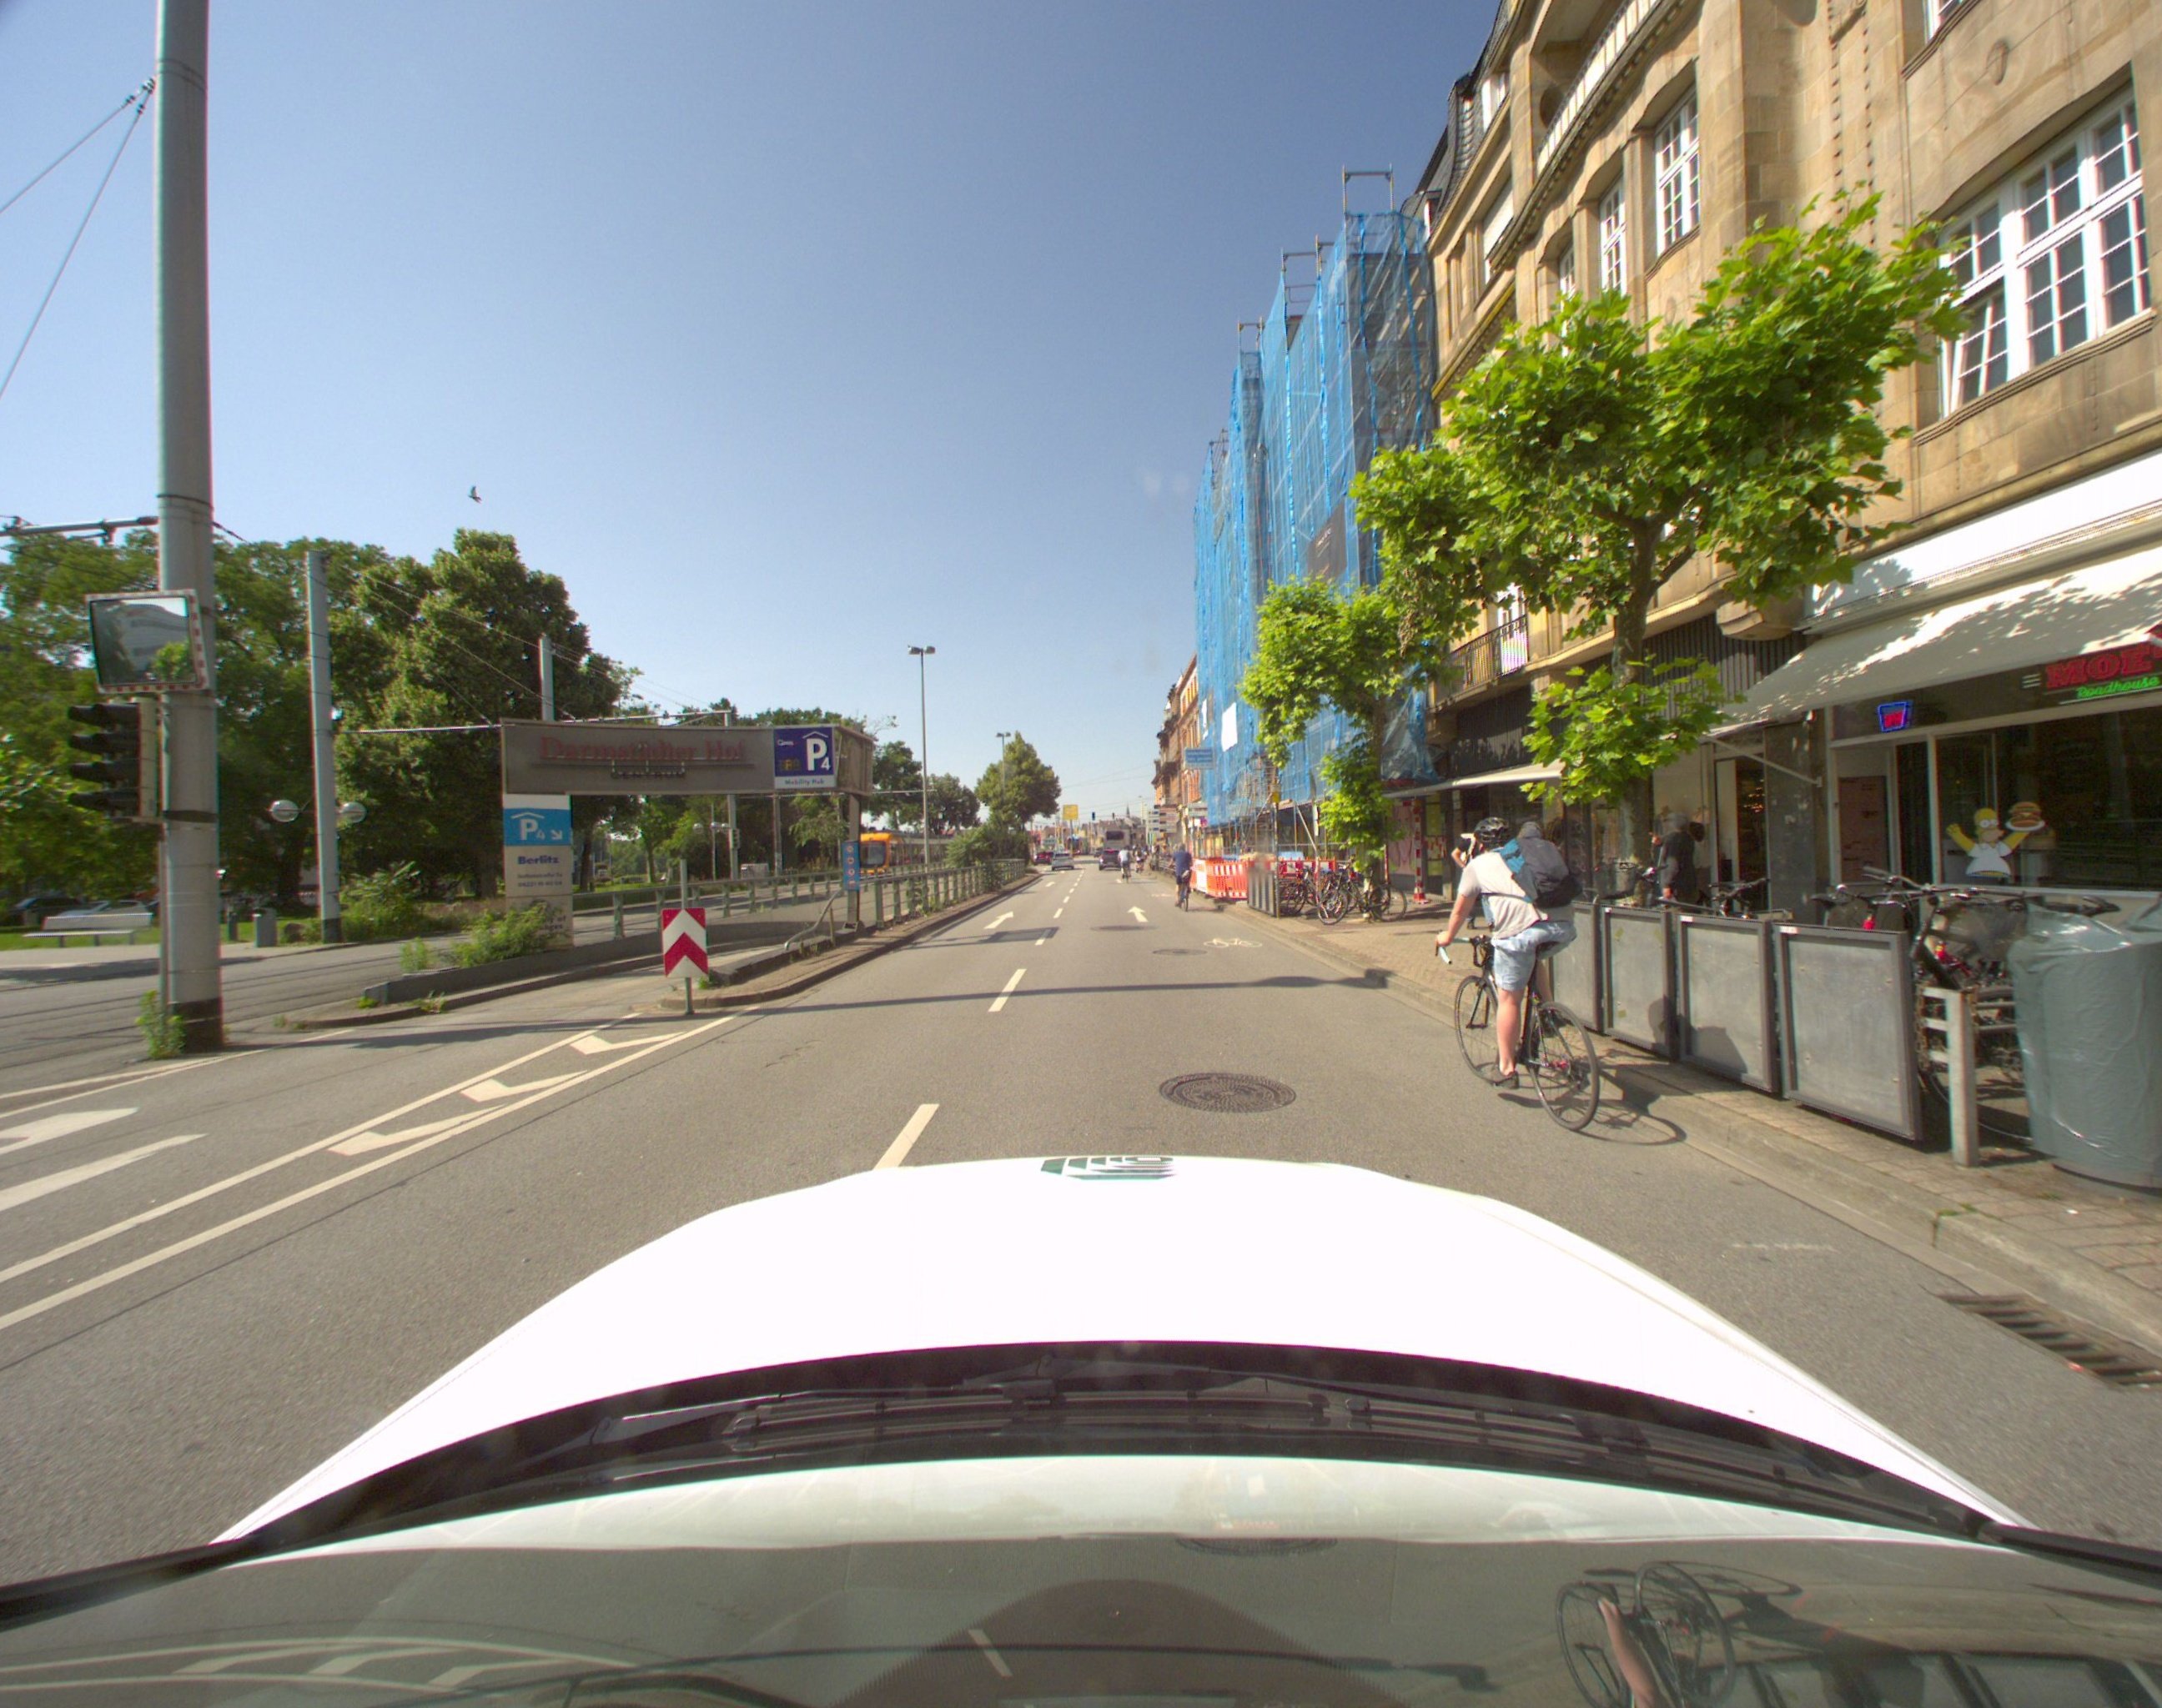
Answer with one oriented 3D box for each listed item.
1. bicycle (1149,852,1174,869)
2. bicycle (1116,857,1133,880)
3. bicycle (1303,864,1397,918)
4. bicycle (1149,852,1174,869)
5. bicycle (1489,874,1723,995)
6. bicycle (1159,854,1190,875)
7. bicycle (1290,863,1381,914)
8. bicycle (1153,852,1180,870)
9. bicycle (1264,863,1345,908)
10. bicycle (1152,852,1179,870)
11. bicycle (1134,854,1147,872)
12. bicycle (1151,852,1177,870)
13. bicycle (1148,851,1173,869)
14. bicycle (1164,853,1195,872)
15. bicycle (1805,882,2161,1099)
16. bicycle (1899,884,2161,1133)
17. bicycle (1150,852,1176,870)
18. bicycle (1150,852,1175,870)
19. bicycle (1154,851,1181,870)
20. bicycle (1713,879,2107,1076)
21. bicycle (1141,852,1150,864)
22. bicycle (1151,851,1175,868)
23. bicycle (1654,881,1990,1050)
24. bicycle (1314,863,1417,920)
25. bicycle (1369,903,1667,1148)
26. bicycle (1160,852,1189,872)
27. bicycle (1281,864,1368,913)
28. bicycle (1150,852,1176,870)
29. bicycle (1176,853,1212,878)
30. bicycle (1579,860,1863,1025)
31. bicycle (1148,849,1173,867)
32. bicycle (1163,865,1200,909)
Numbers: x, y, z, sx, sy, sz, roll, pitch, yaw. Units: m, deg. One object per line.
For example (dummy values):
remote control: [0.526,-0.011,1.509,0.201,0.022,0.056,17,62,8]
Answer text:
bicycle: [5.674,0.465,57.392,1.687,1.178,0.470,0,-1,1]
bicycle: [2.089,0.698,39.361,0.732,1.093,1.897,0,0,0]
bicycle: [5.370,0.726,16.268,1.752,1.018,0.481,-1,0,-10]
bicycle: [5.638,0.457,56.856,1.687,1.178,0.460,0,-1,1]
bicycle: [4.824,0.715,7.628,1.737,1.018,0.661,-1,0,23]
bicycle: [5.494,0.620,47.923,1.764,1.178,0.609,0,0,1]
bicycle: [5.341,0.726,17.140,1.747,1.018,0.482,-1,0,-1]
bicycle: [5.538,0.444,52.960,1.687,1.178,0.497,0,-1,1]
bicycle: [5.233,0.730,19.100,1.747,1.018,0.482,-1,0,-1]
bicycle: [5.547,0.455,53.528,1.687,1.178,0.491,0,-1,1]
bicycle: [3.597,0.548,49.322,0.731,1.093,1.898,0,0,1]
bicycle: [5.543,0.465,54.099,1.687,1.178,0.451,0,-1,1]
bicycle: [5.688,0.399,58.615,1.687,1.178,0.609,-4,0,1]
bicycle: [5.595,0.469,46.425,1.687,1.087,0.609,0,0,1]
bicycle: [4.874,0.681,4.264,1.747,1.018,0.482,-1,0,-1]
bicycle: [4.869,0.665,3.743,1.747,1.018,0.482,-1,0,-1]
bicycle: [5.601,0.479,55.735,1.687,1.178,0.514,0,0,1]
bicycle: [5.639,0.481,56.317,1.687,1.178,0.459,0,-1,1]
bicycle: [5.533,0.426,52.298,1.687,1.241,0.609,0,0,1]
bicycle: [4.869,0.698,4.850,1.747,1.018,0.587,-2,0,-1]
bicycle: [6.011,0.400,75.405,0.731,1.093,1.898,0,0,2]
bicycle: [5.762,0.409,57.362,1.687,1.178,0.470,0,-1,1]
bicycle: [4.905,0.715,5.450,1.747,1.018,0.557,-1,0,-1]
bicycle: [5.300,0.695,15.215,1.747,1.018,0.482,-1,0,-1]
bicycle: [2.552,0.915,5.109,0.732,1.093,2.130,0,0,0]
bicycle: [5.565,0.480,48.678,1.687,1.178,0.609,0,0,1]
bicycle: [5.287,0.745,17.728,1.747,1.018,0.482,-1,0,-1]
bicycle: [5.553,0.477,55.170,1.687,1.178,0.457,0,-1,1]
bicycle: [5.558,0.563,40.045,1.687,1.178,0.609,0,0,1]
bicycle: [4.923,0.655,6.324,1.747,1.181,0.579,-1,0,-1]
bicycle: [5.654,0.284,57.960,1.687,1.178,0.609,-2,0,1]
bicycle: [2.651,0.856,21.638,0.732,1.093,1.911,0,0,0]
